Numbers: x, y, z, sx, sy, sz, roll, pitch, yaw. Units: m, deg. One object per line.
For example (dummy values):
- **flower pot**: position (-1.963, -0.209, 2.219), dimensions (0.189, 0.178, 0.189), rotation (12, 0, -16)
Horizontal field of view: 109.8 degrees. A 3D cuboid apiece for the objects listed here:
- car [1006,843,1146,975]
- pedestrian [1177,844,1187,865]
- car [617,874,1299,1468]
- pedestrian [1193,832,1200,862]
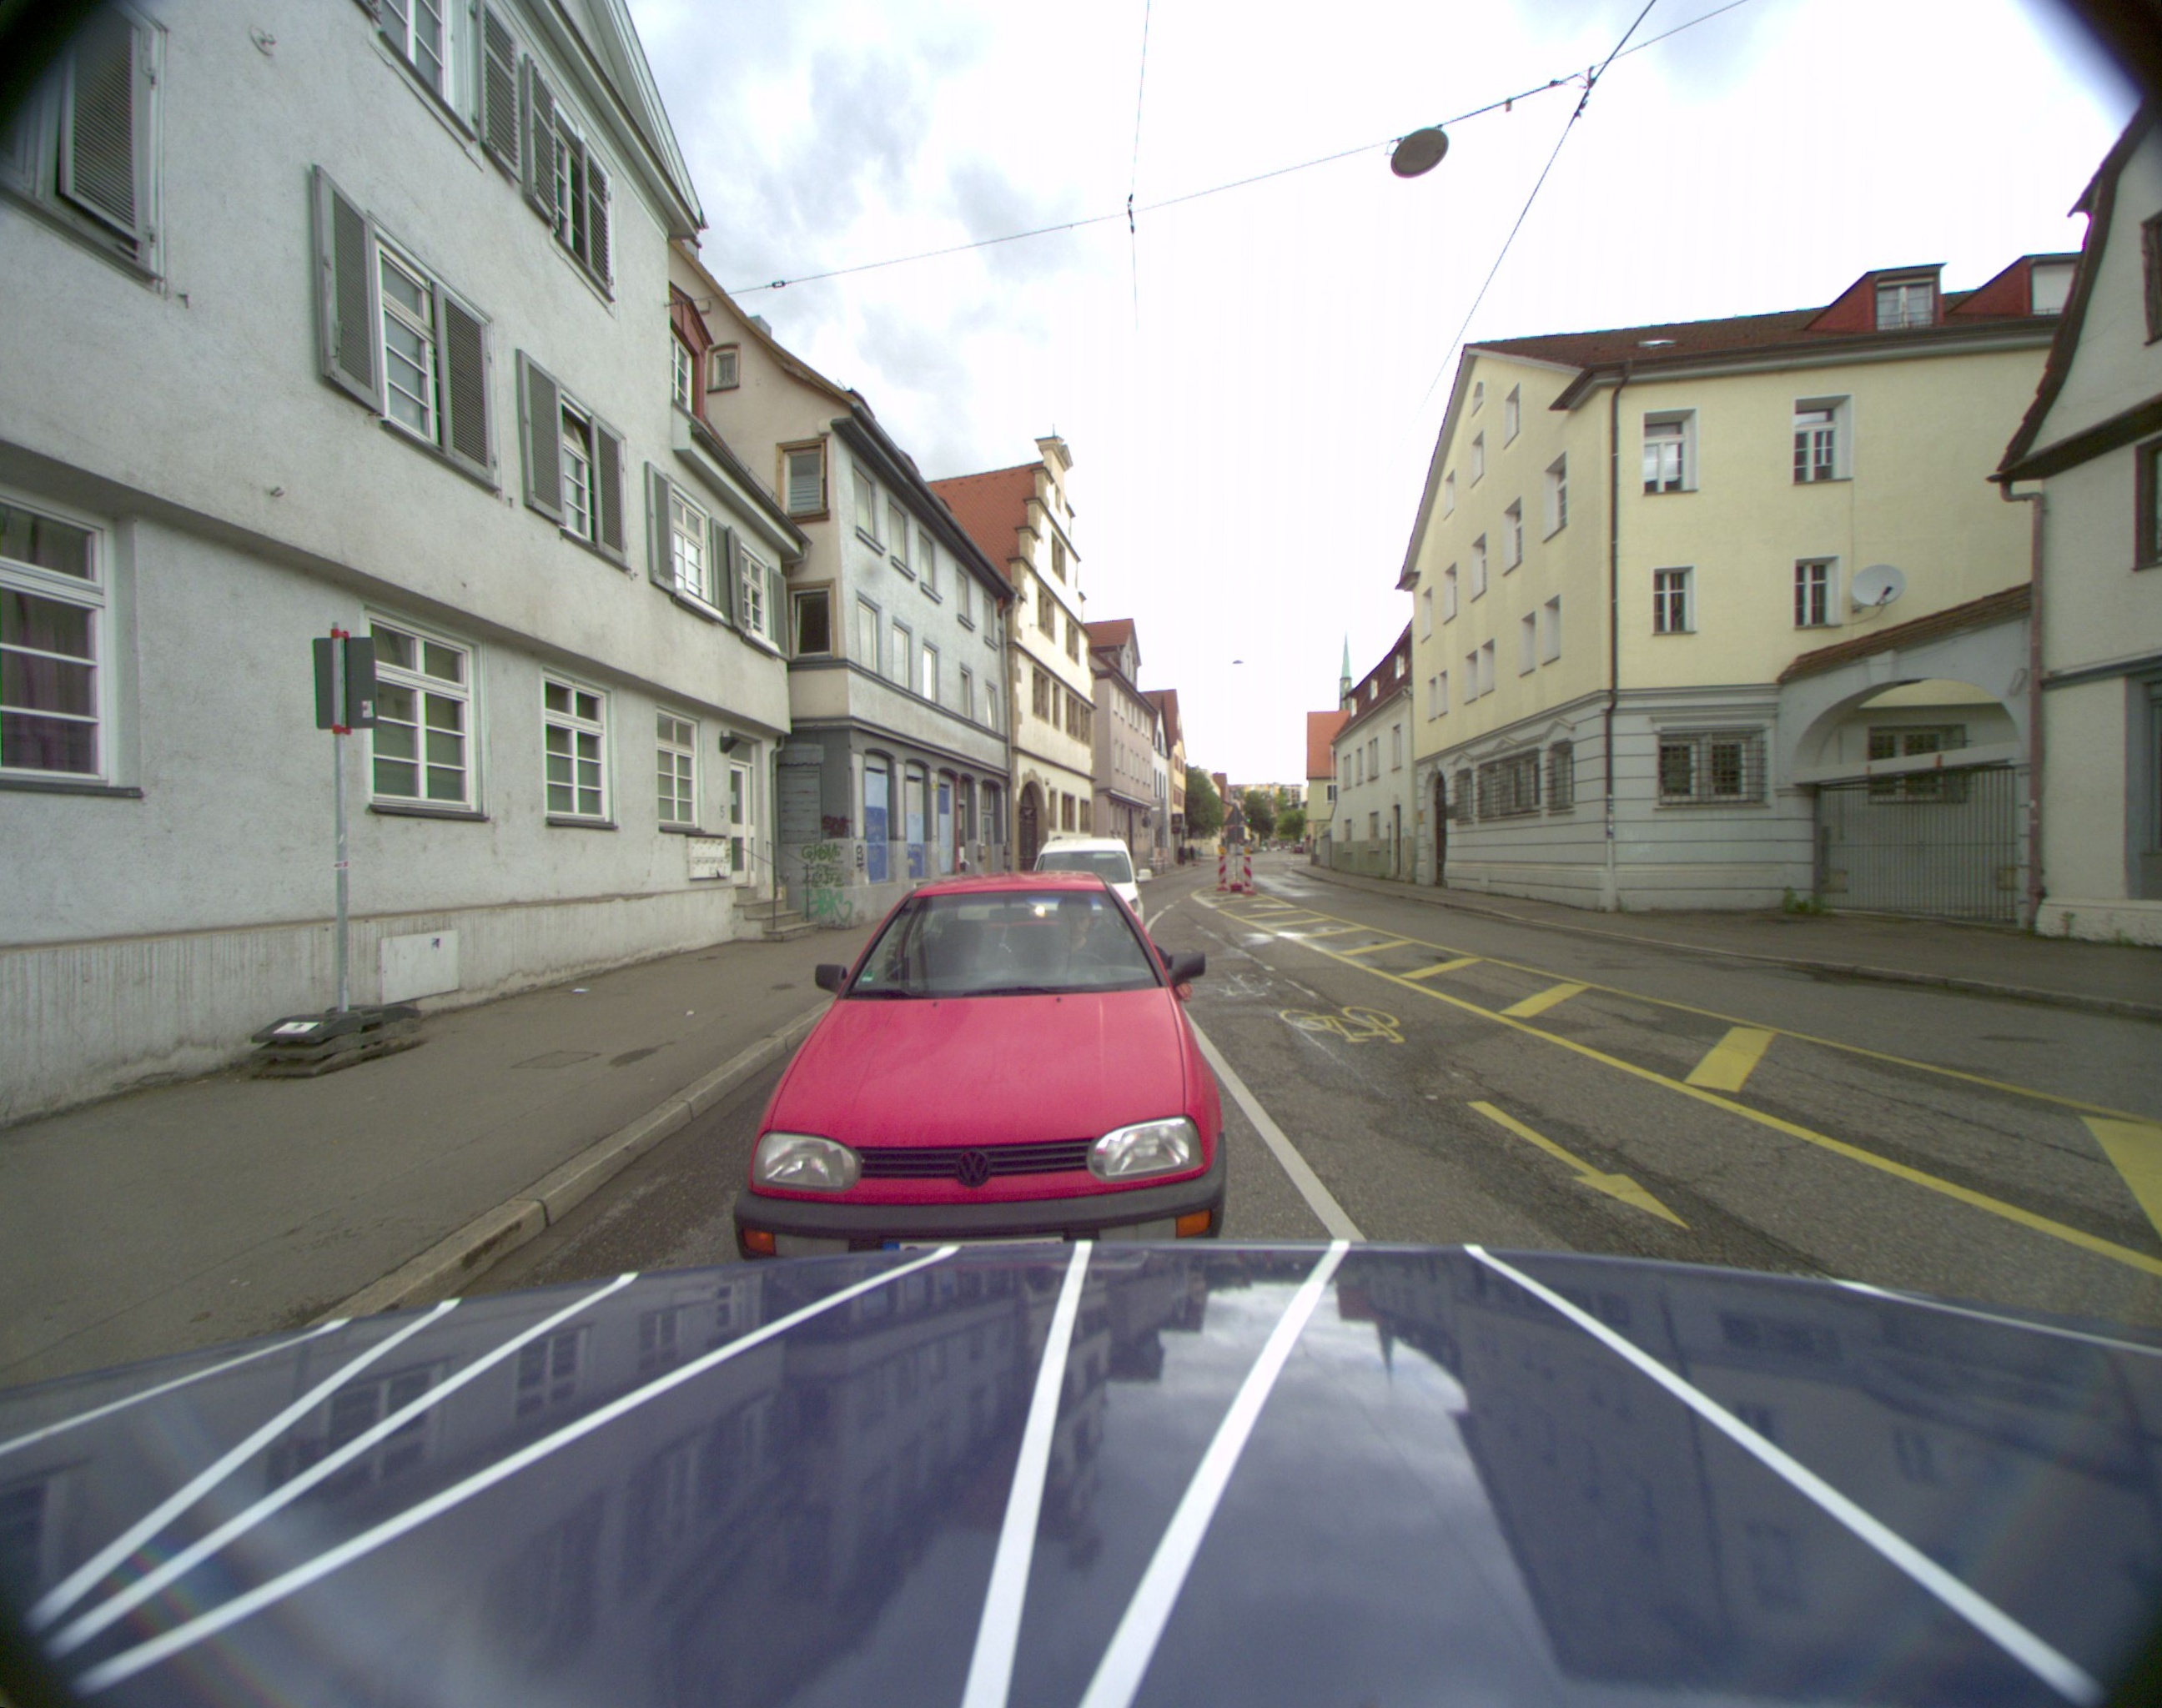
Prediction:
- **car**: position (0.019, 0.695, 12.151), dimensions (1.814, 1.695, 4.256), rotation (-1, 1, 2)
- **pedestrian**: position (7.833, 0.039, 58.642), dimensions (0.725, 1.604, 0.649), rotation (-1, 1, 10)
- **car**: position (-0.267, 0.917, 4.032), dimensions (1.792, 1.417, 3.999), rotation (-2, 1, 2)
- **pedestrian**: position (9.654, -0.586, 63.628), dimensions (0.495, 2.513, 0.746), rotation (-1, 1, 12)
